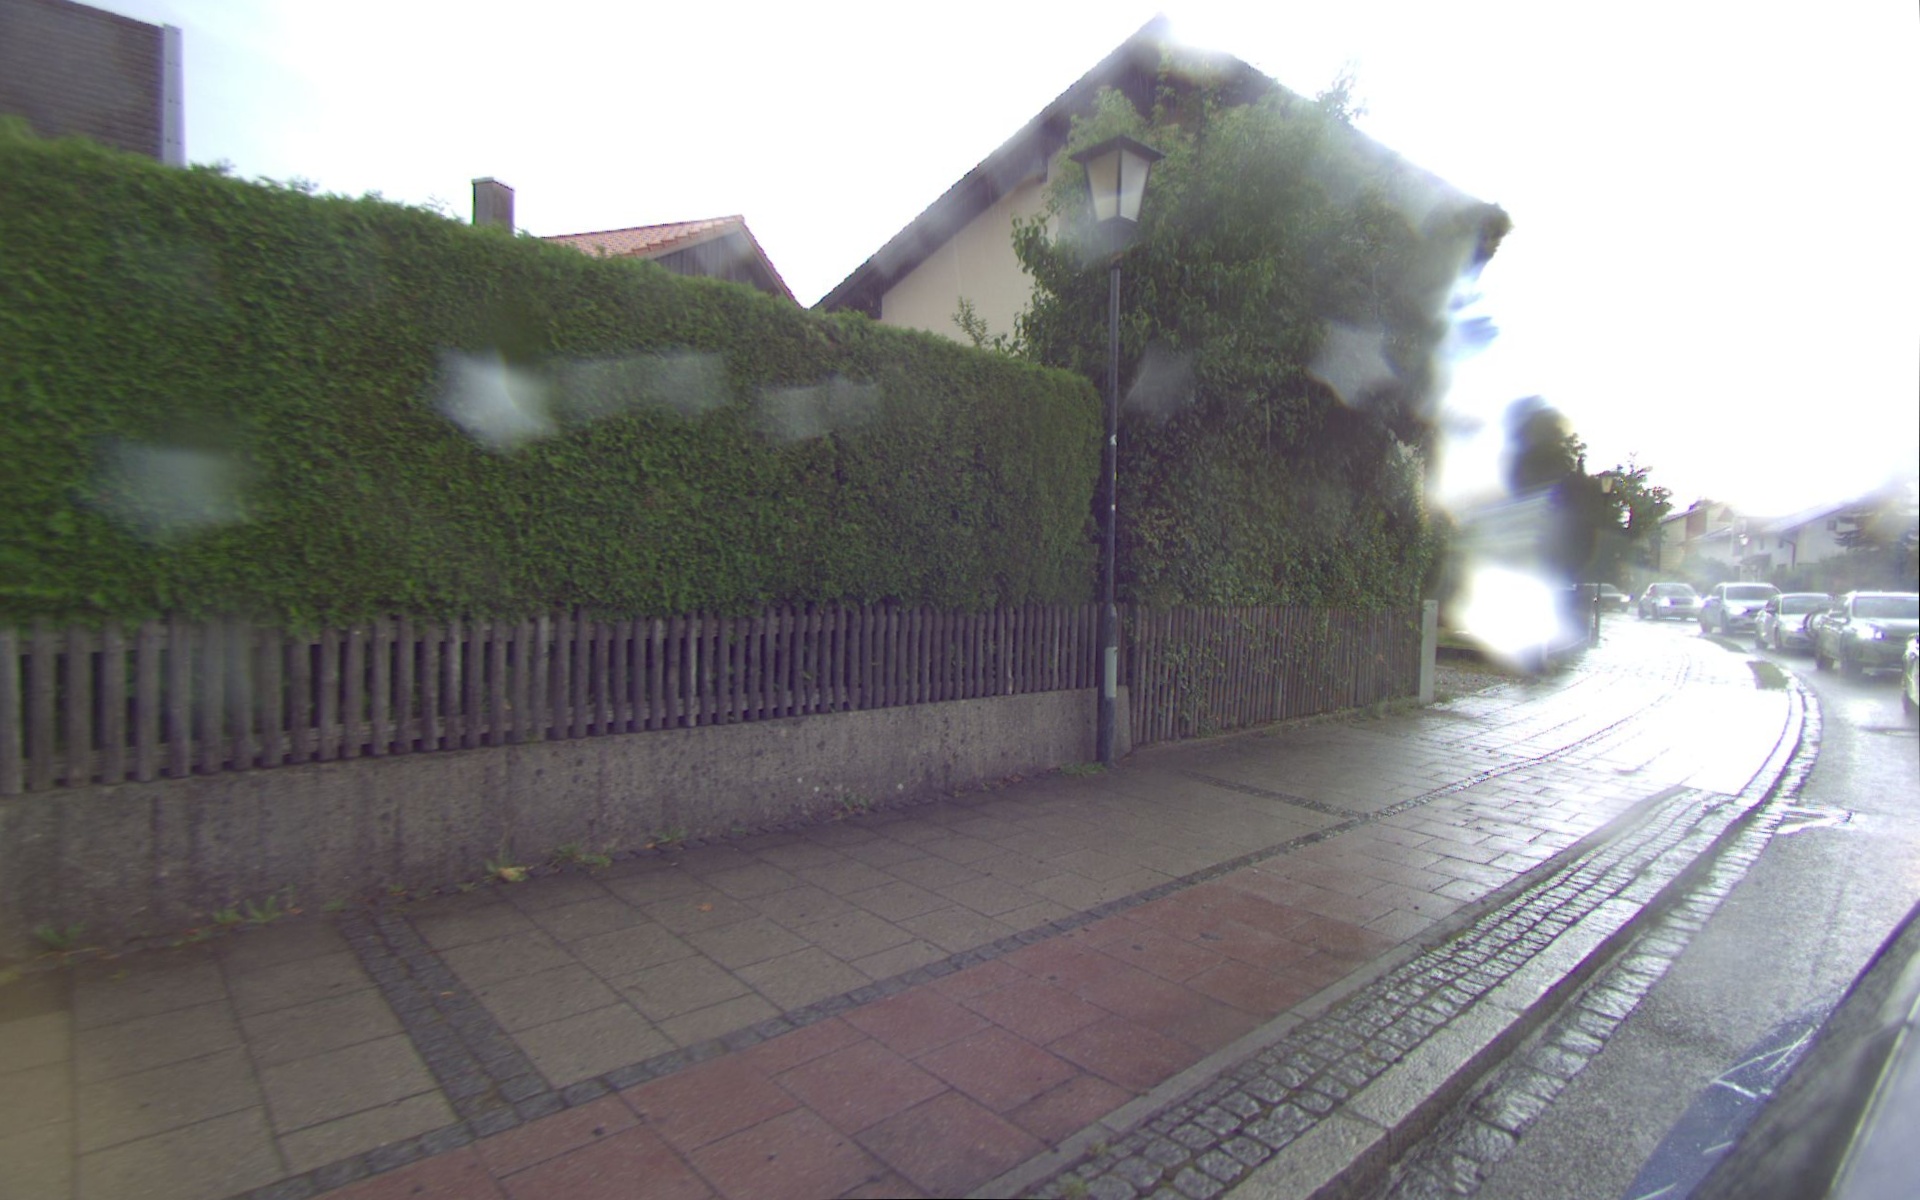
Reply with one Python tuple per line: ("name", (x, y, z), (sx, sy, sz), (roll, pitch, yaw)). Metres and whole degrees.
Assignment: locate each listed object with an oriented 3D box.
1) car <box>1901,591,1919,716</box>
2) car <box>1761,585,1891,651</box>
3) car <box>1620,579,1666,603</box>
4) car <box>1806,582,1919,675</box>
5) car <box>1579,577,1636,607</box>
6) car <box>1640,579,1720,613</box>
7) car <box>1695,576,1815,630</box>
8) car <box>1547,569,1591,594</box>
("car", (11.659, 0.620, 11.010), (1.786, 1.412, 4.221), (0, 1, 39))
("car", (20.730, 0.368, 24.397), (1.782, 1.412, 4.232), (0, 1, 33))
("car", (46.376, -0.593, 68.811), (1.775, 1.568, 4.249), (0, 1, 23))
("car", (17.166, 0.430, 18.598), (1.782, 1.497, 5.323), (0, 1, 32))
("car", (35.323, -0.458, 55.312), (1.774, 1.568, 4.251), (0, 1, 21))
("car", (30.953, -0.186, 43.627), (1.774, 1.391, 4.251), (0, 1, 21))
("car", (24.805, 0.064, 31.749), (1.774, 1.568, 4.251), (0, 1, 21))
("car", (40.004, -1.231, 66.549), (1.774, 1.568, 4.251), (0, 1, 21))
